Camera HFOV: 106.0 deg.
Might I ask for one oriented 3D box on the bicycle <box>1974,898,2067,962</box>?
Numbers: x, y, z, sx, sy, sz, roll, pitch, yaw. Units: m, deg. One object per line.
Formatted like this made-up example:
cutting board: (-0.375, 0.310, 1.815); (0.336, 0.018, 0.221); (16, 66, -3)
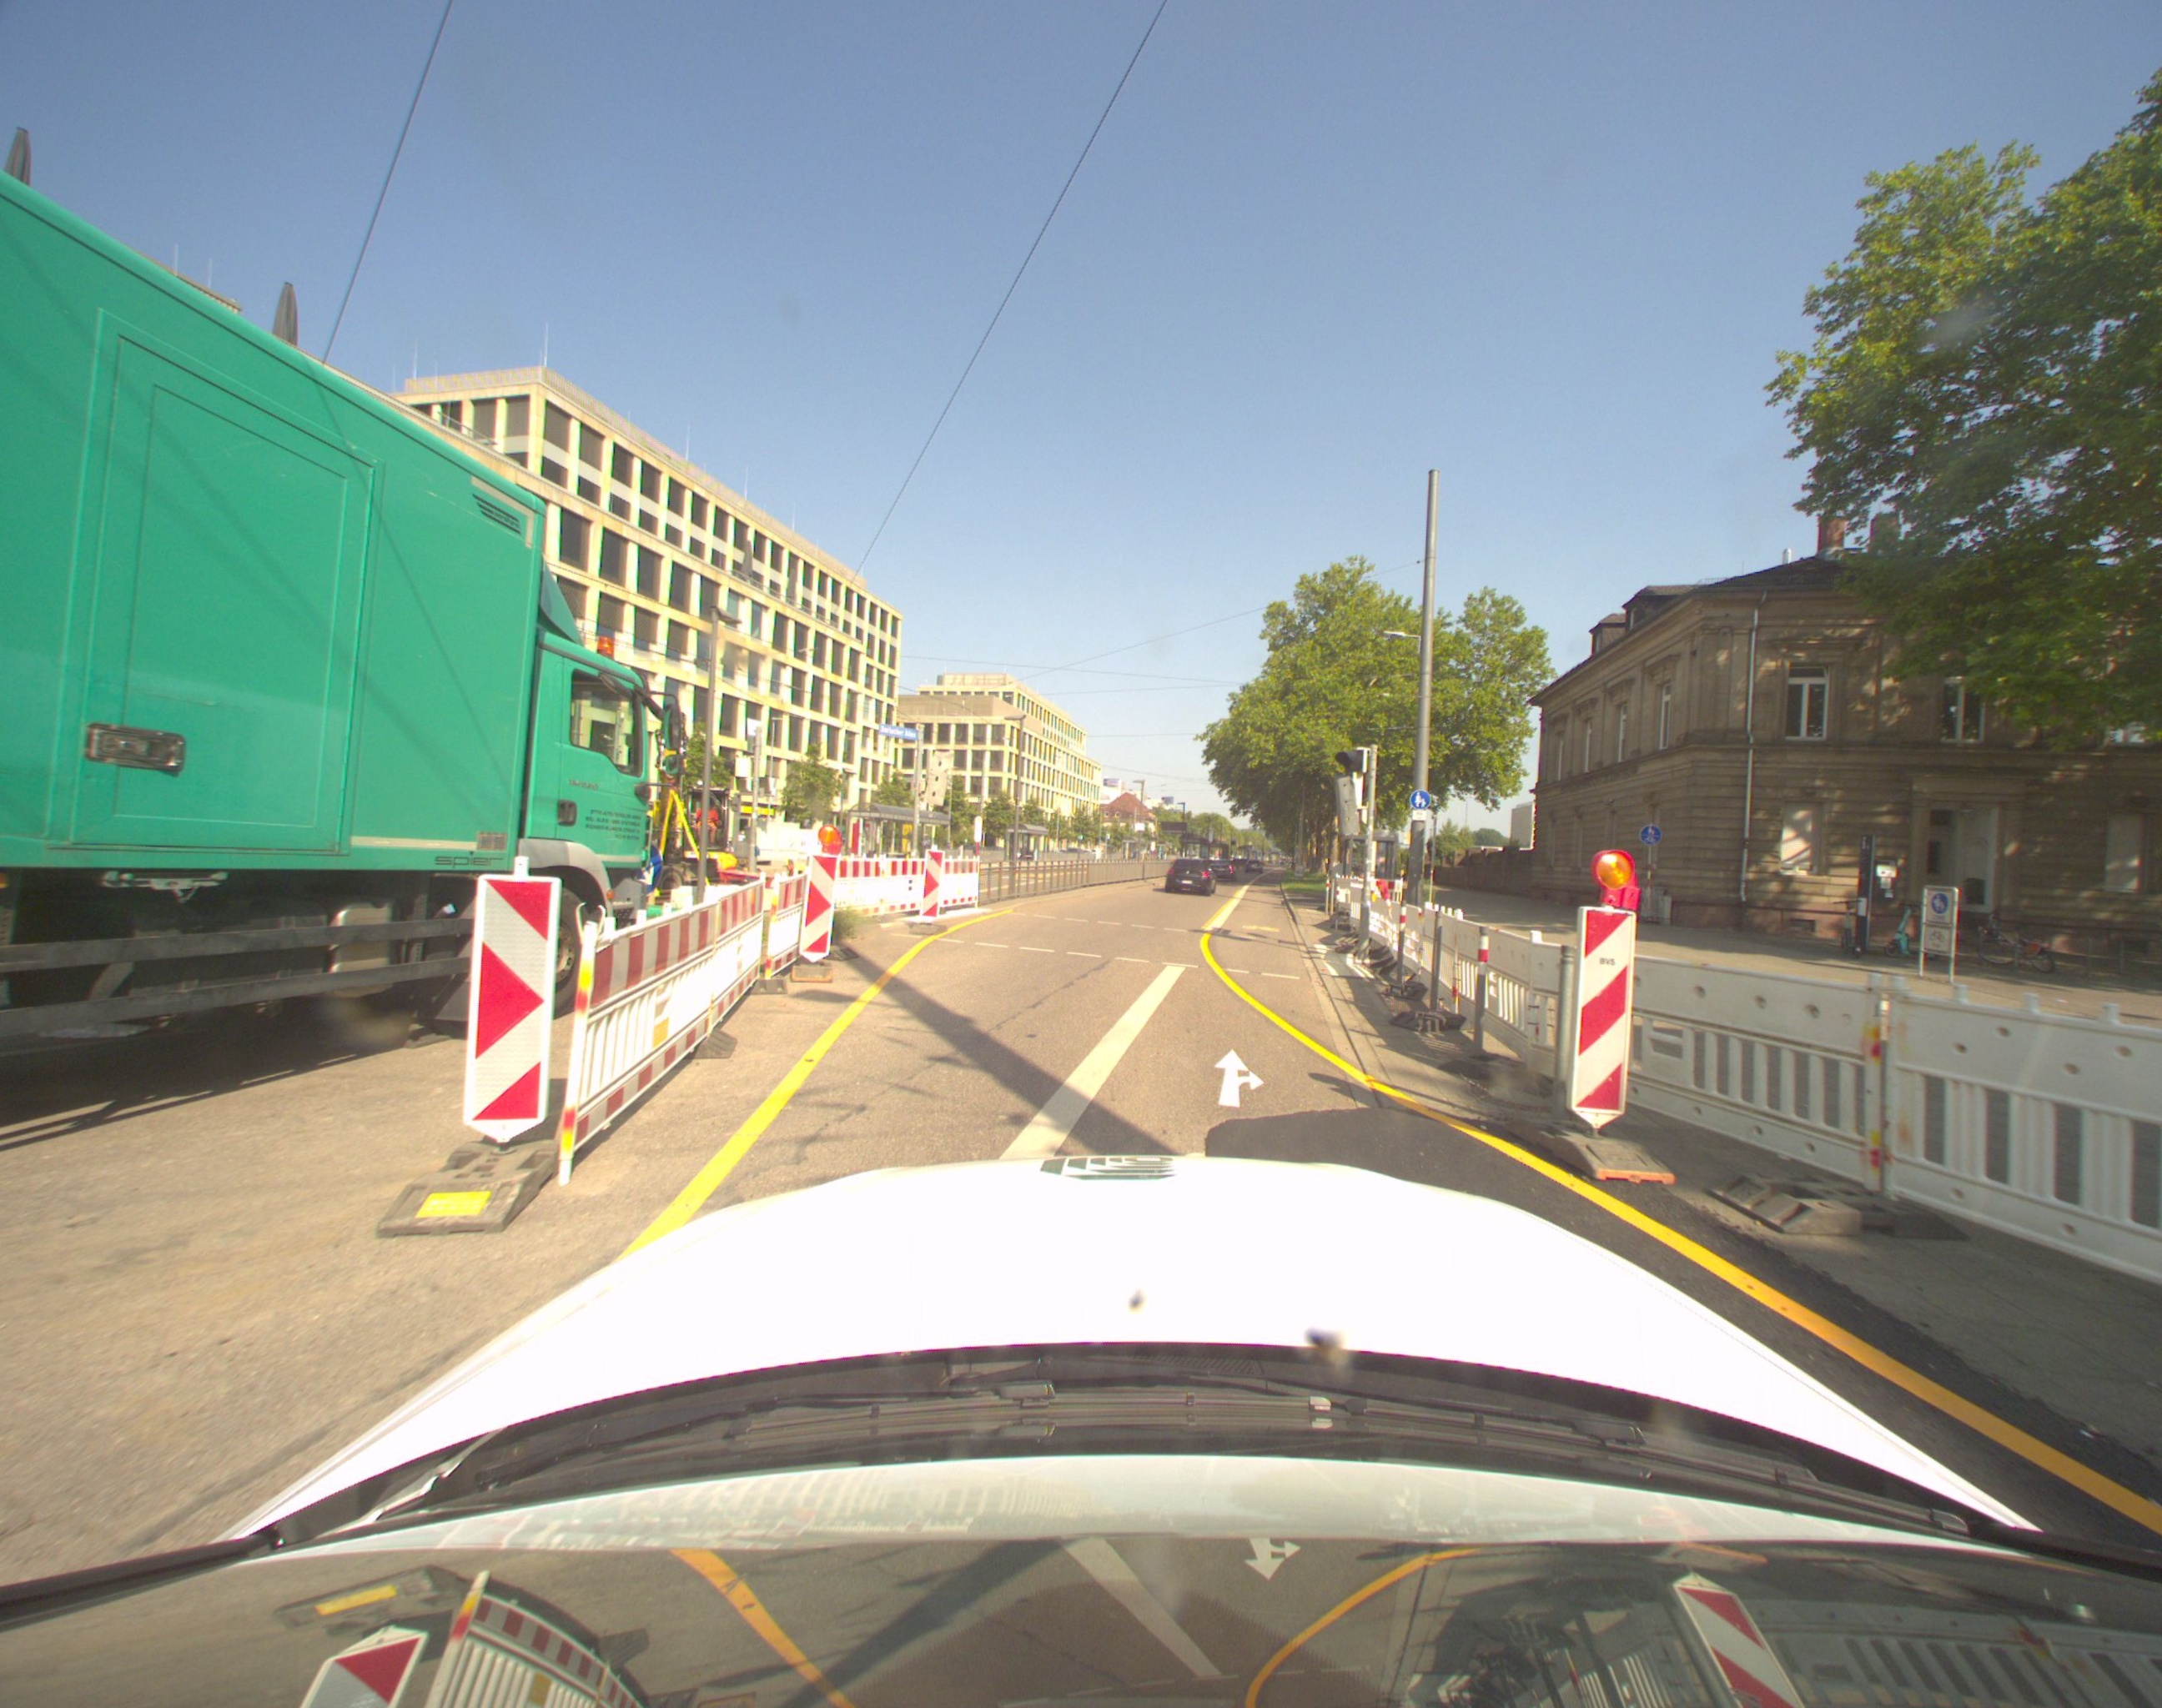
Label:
bicycle: (19.807, 1.569, 17.209); (0.494, 1.166, 1.637); (2, 1, 19)

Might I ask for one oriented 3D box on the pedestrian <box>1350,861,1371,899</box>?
pedestrian: (9.688, 0.895, 28.243); (0.604, 1.277, 0.761); (1, 0, 11)

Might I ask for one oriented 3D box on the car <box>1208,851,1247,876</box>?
car: (9.505, 0.617, 52.703); (1.978, 1.441, 4.017); (2, 0, 16)

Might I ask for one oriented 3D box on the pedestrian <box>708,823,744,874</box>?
pedestrian: (-8.324, -0.127, 19.078); (0.591, 1.155, 0.695); (2, 1, -37)

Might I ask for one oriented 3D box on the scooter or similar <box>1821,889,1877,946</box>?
scooter or similar: (17.214, 1.409, 18.282); (0.405, 1.166, 1.232); (2, 1, 19)

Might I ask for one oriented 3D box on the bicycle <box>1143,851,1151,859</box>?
bicycle: (10.111, 0.120, 124.677); (0.467, 1.147, 1.492); (3, 0, 29)

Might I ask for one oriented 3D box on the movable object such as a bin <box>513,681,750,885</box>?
movable object such as a bin: (-11.138, -1.656, 20.595); (2.964, 4.553, 4.230); (2, 1, 16)

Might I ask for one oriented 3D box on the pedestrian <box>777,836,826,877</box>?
pedestrian: (-6.745, 0.053, 19.691); (0.696, 0.955, 0.885); (2, 1, 14)

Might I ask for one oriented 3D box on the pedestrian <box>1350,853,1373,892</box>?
pedestrian: (12.299, 0.801, 35.714); (0.874, 1.625, 0.827); (3, 1, 20)

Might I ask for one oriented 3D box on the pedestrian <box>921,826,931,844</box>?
pedestrian: (-16.303, -1.980, 85.747); (0.788, 1.917, 0.840); (0, -2, 8)

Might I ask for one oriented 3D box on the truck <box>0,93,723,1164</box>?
truck: (-5.206, -0.822, 3.324); (2.795, 3.788, 9.027); (2, 1, 5)

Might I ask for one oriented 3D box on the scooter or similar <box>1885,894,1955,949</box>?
scooter or similar: (18.666, 1.496, 18.130); (1.085, 1.132, 0.313); (2, 0, 10)

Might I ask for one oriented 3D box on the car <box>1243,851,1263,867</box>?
car: (18.590, 0.531, 87.998); (1.894, 1.537, 4.015); (2, 0, 14)

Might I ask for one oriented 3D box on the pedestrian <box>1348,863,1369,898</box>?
pedestrian: (9.889, 0.922, 29.049); (0.604, 1.218, 0.576); (1, 0, 11)

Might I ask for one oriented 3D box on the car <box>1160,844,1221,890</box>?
car: (4.463, 0.484, 32.655); (1.894, 1.537, 4.015); (5, 1, 14)
